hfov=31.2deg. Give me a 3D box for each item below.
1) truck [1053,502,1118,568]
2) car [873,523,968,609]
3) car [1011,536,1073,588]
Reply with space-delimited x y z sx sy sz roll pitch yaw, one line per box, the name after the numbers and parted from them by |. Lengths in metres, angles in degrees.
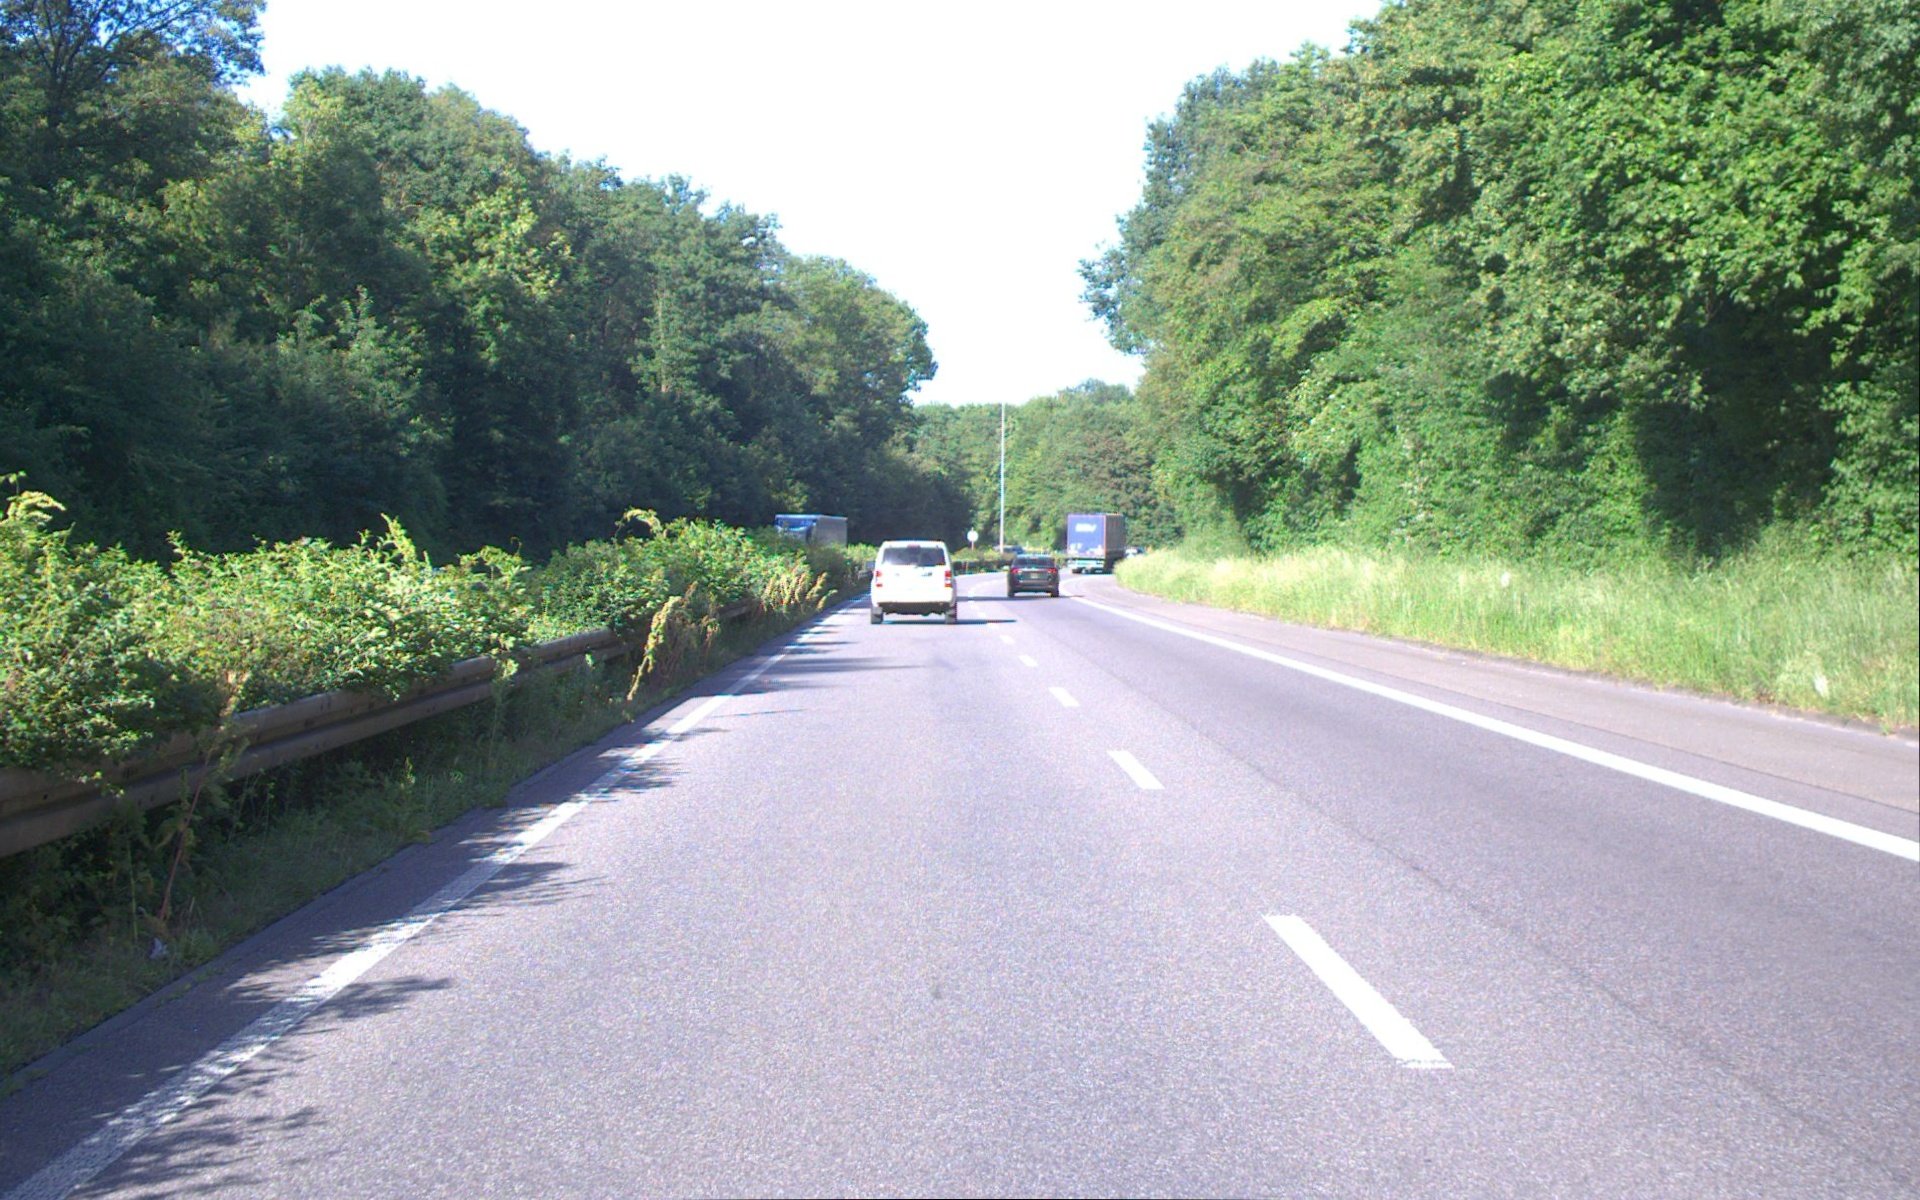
8.538 -4.352 232.975 3.735 4.328 9.302 1 1 6 | truck
-0.865 -0.738 74.217 1.951 1.776 4.588 1 1 -1 | car
2.853 -1.318 120.074 1.951 1.776 4.588 1 1 -1 | car
